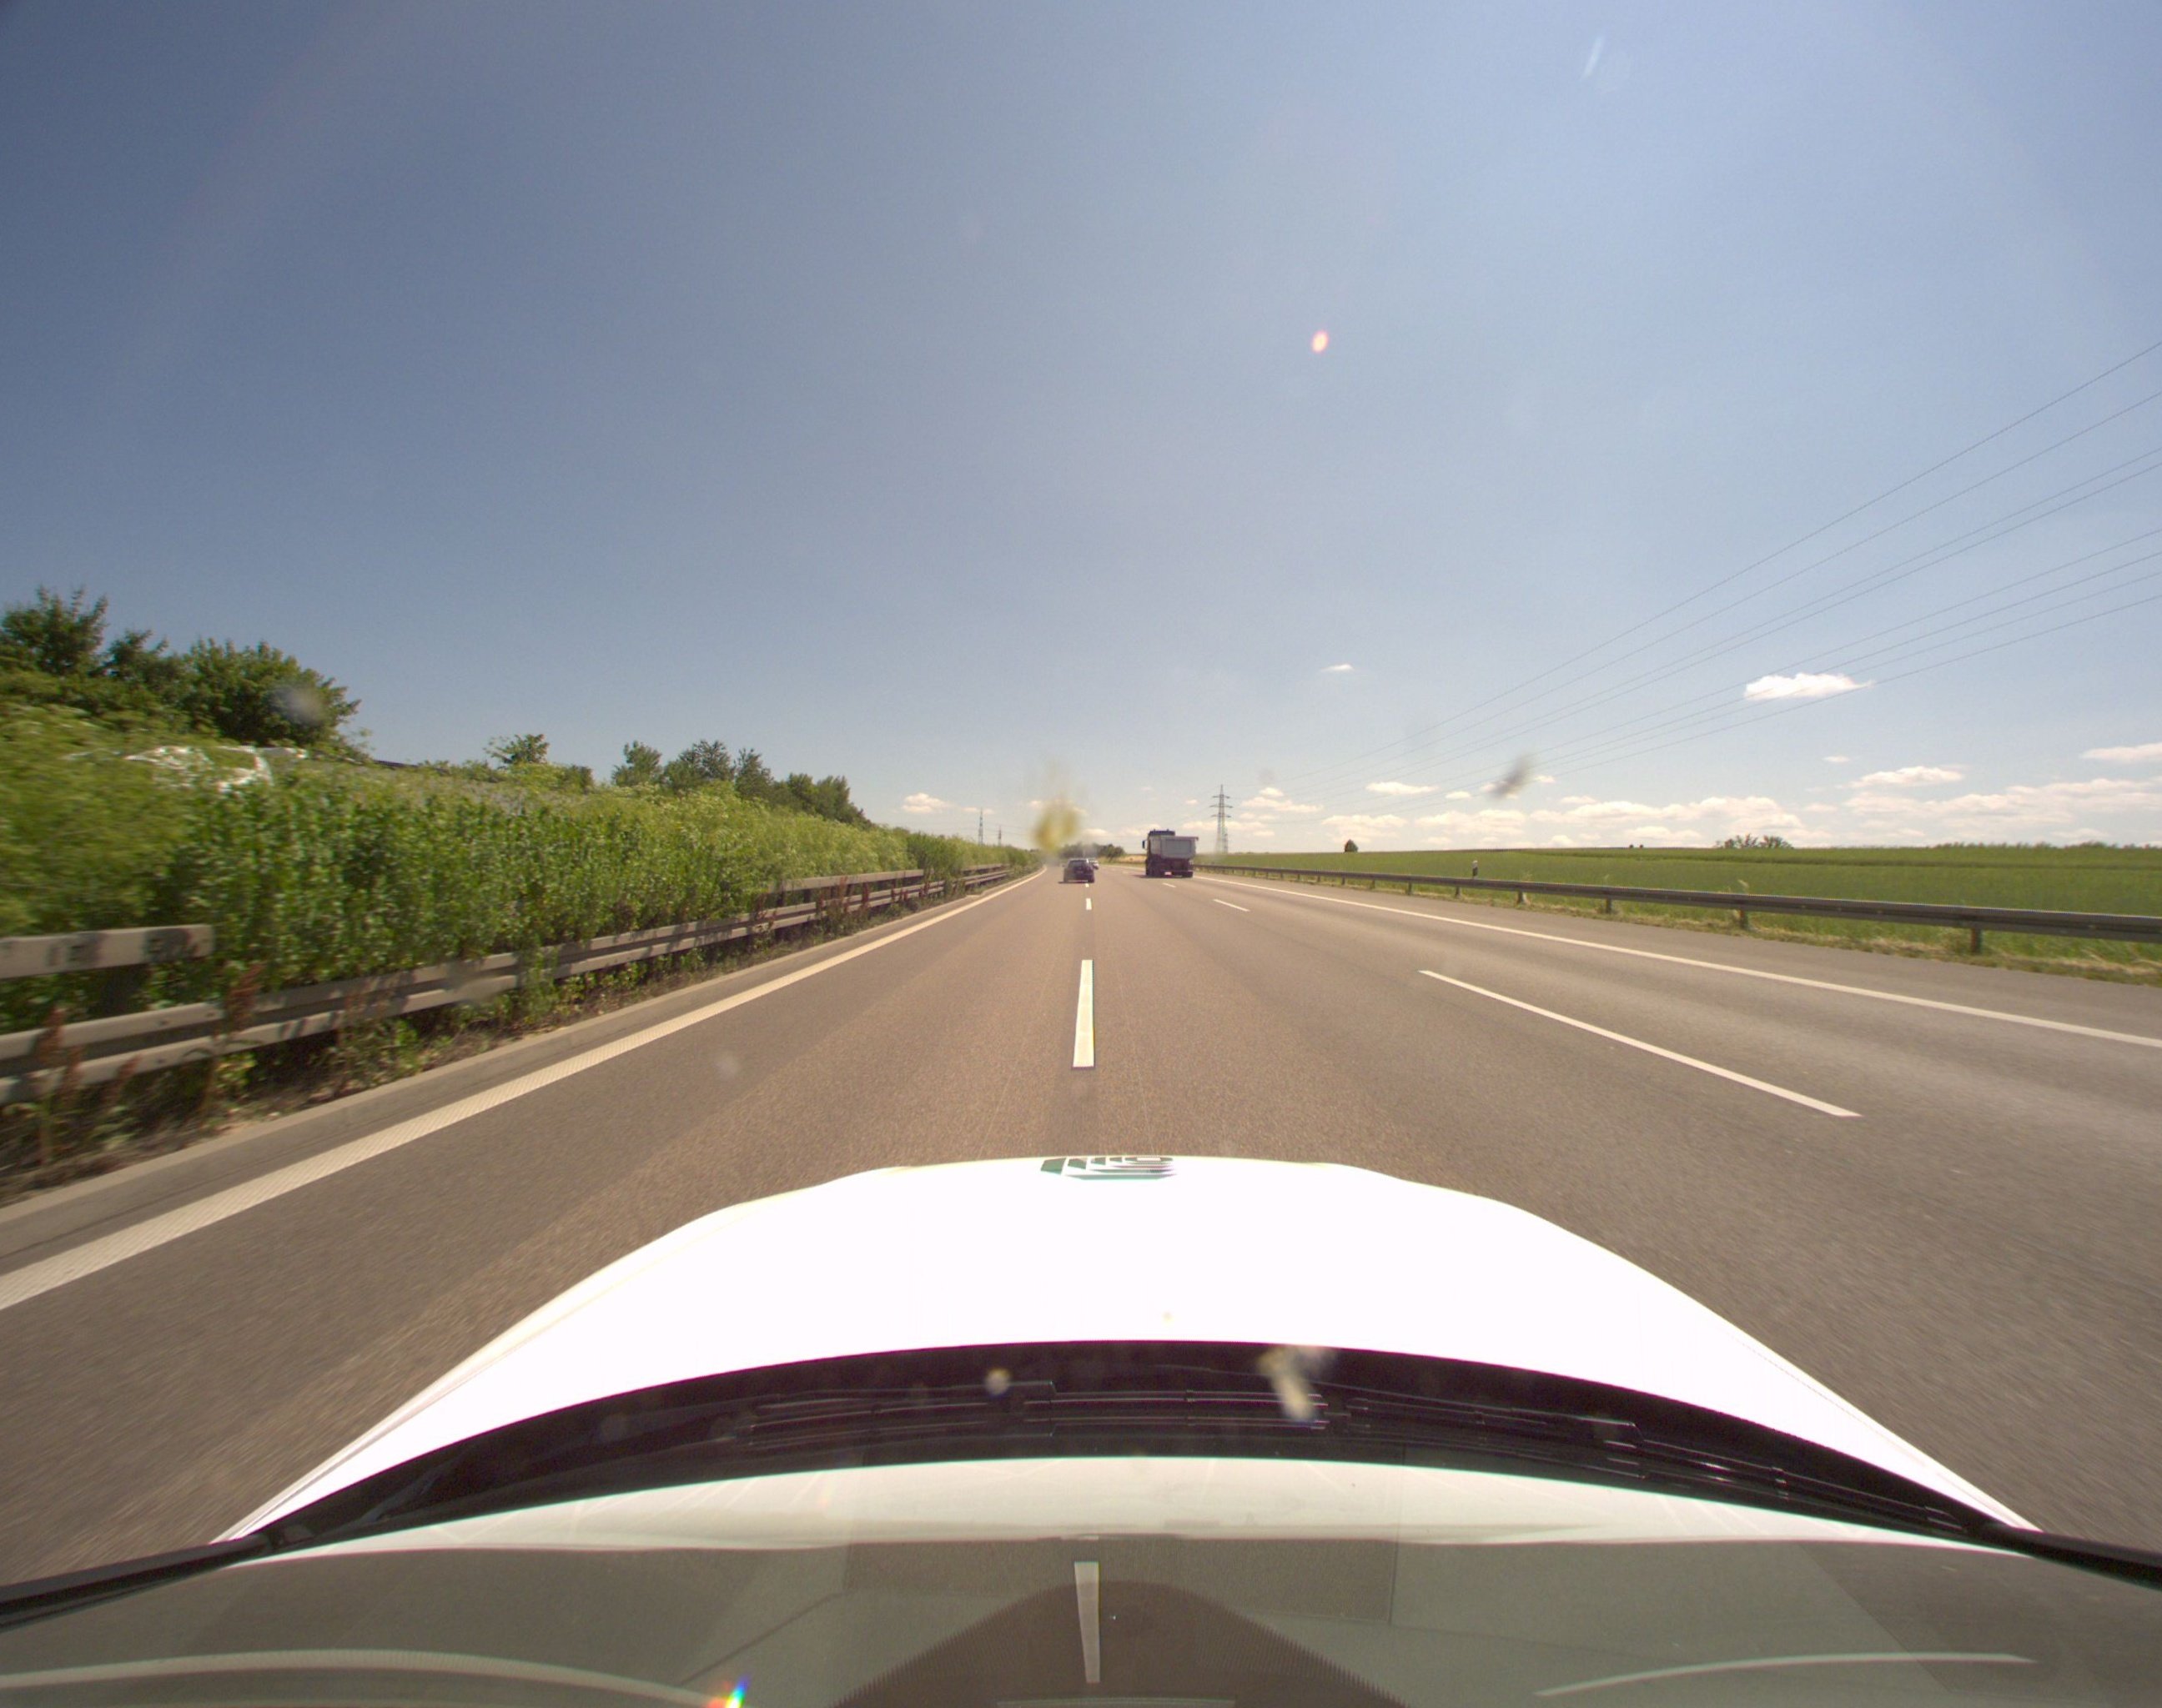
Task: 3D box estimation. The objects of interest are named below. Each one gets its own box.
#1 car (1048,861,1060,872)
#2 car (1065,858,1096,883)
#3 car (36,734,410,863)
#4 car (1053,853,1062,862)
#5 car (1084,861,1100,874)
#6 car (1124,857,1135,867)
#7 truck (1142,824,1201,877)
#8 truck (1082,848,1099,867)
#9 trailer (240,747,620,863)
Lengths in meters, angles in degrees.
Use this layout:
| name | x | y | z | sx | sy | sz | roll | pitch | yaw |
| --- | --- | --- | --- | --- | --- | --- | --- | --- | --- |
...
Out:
| name | x | y | z | sx | sy | sz | roll | pitch | yaw |
| --- | --- | --- | --- | --- | --- | --- | --- | --- | --- |
| car | -4.663 | 2.168 | 140.763 | 1.988 | 1.860 | 3.997 | -1 | -1 | -2 |
| car | -0.017 | 0.962 | 49.086 | 1.750 | 1.429 | 4.001 | -1 | -1 | 1 |
| car | -18.713 | -1.046 | 18.368 | 2.561 | 2.452 | 5.512 | -1 | -1 | 0 |
| car | -5.037 | 0.847 | 177.363 | 1.896 | 1.926 | 3.998 | -1 | -1 | -1 |
| car | 1.421 | 1.725 | 103.090 | 1.815 | 1.541 | 3.911 | -1 | -1 | -2 |
| car | 9.352 | 1.489 | 158.492 | 1.986 | 1.853 | 4.001 | -1 | -1 | 1 |
| truck | 6.882 | -0.209 | 63.999 | 2.857 | 3.724 | 12.753 | -1 | -1 | -2 |
| truck | 1.941 | 0.777 | 175.081 | 3.212 | 3.924 | 9.054 | 0 | -1 | -2 |
| trailer | -18.624 | -1.106 | 24.968 | 2.559 | 2.710 | 11.403 | -1 | -1 | 0 |
